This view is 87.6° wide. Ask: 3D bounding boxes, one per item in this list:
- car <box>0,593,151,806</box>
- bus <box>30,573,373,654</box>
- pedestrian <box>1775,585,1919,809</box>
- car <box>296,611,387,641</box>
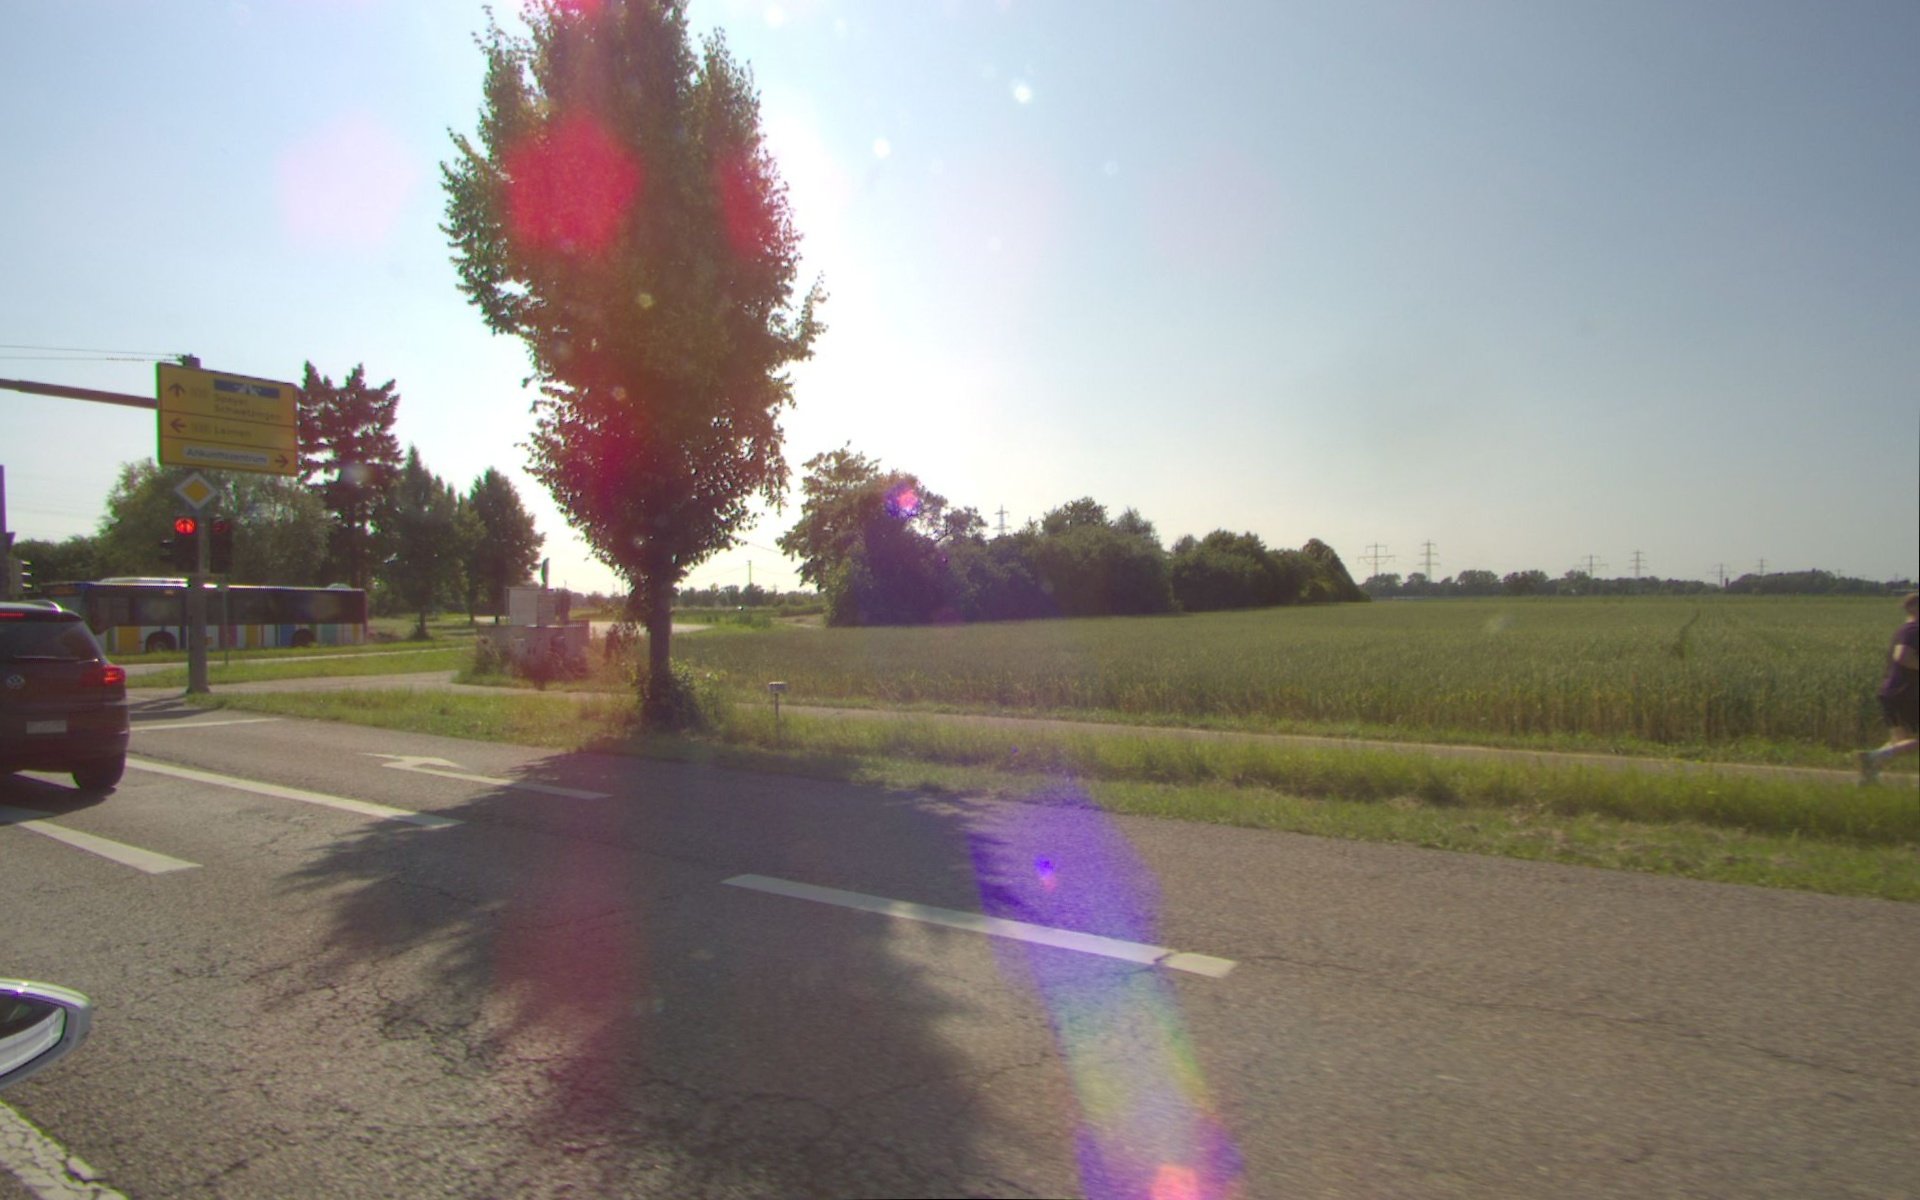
[{"bbox_3d":[-9.263,0.810,9.070,4.086,1.676,1.753,-1,-2,32],"label":"car"},{"bbox_3d":[-30.781,0.467,41.835,2.889,2.915,11.956,-1,0,17],"label":"bus"},{"bbox_3d":[8.043,0.809,8.834,1.177,1.864,0.900,0,1,30],"label":"pedestrian"},{"bbox_3d":[-31.570,1.316,51.251,1.649,1.417,3.997,0,0,11],"label":"car"}]
